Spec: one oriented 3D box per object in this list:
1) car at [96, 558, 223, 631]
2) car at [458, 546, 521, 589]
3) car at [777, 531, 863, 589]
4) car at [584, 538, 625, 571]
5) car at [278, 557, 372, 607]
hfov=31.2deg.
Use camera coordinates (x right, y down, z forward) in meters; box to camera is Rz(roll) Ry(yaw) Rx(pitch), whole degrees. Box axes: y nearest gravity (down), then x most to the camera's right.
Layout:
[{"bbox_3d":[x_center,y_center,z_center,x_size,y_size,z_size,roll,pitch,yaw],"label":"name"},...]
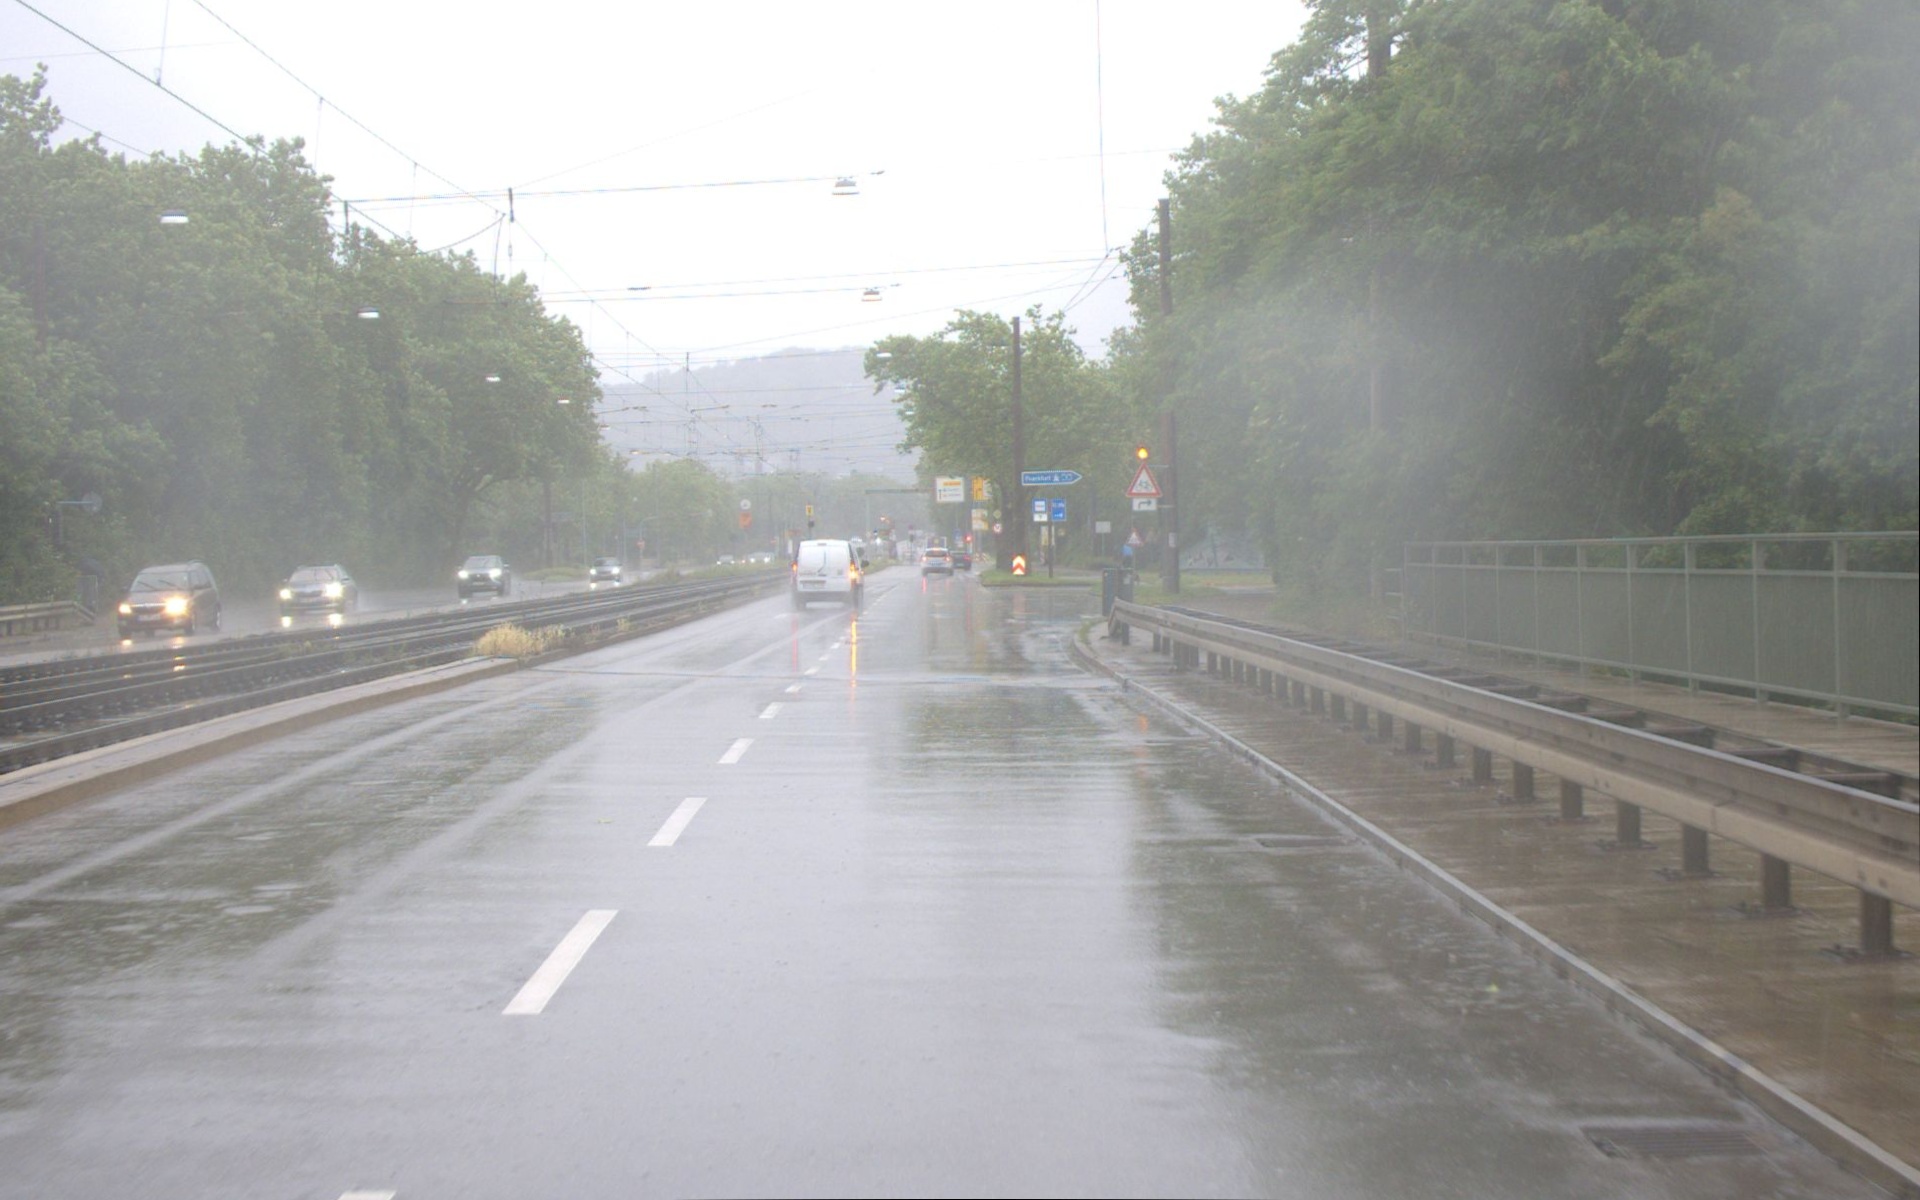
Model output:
[{"bbox_3d":[-17.824,-0.136,76.690,1.841,1.568,4.385,0,1,0],"label":"car"},{"bbox_3d":[-19.032,-1.330,139.198,1.993,1.667,4.873,-1,1,-2],"label":"car"},{"bbox_3d":[-3.657,-1.054,90.403,2.077,1.415,4.000,-2,1,0],"label":"car"},{"bbox_3d":[-20.752,-2.653,200.791,1.993,1.776,4.000,4,1,-1],"label":"car"},{"bbox_3d":[-18.760,-0.554,101.686,1.993,1.384,4.854,-1,1,-2],"label":"car"}]
